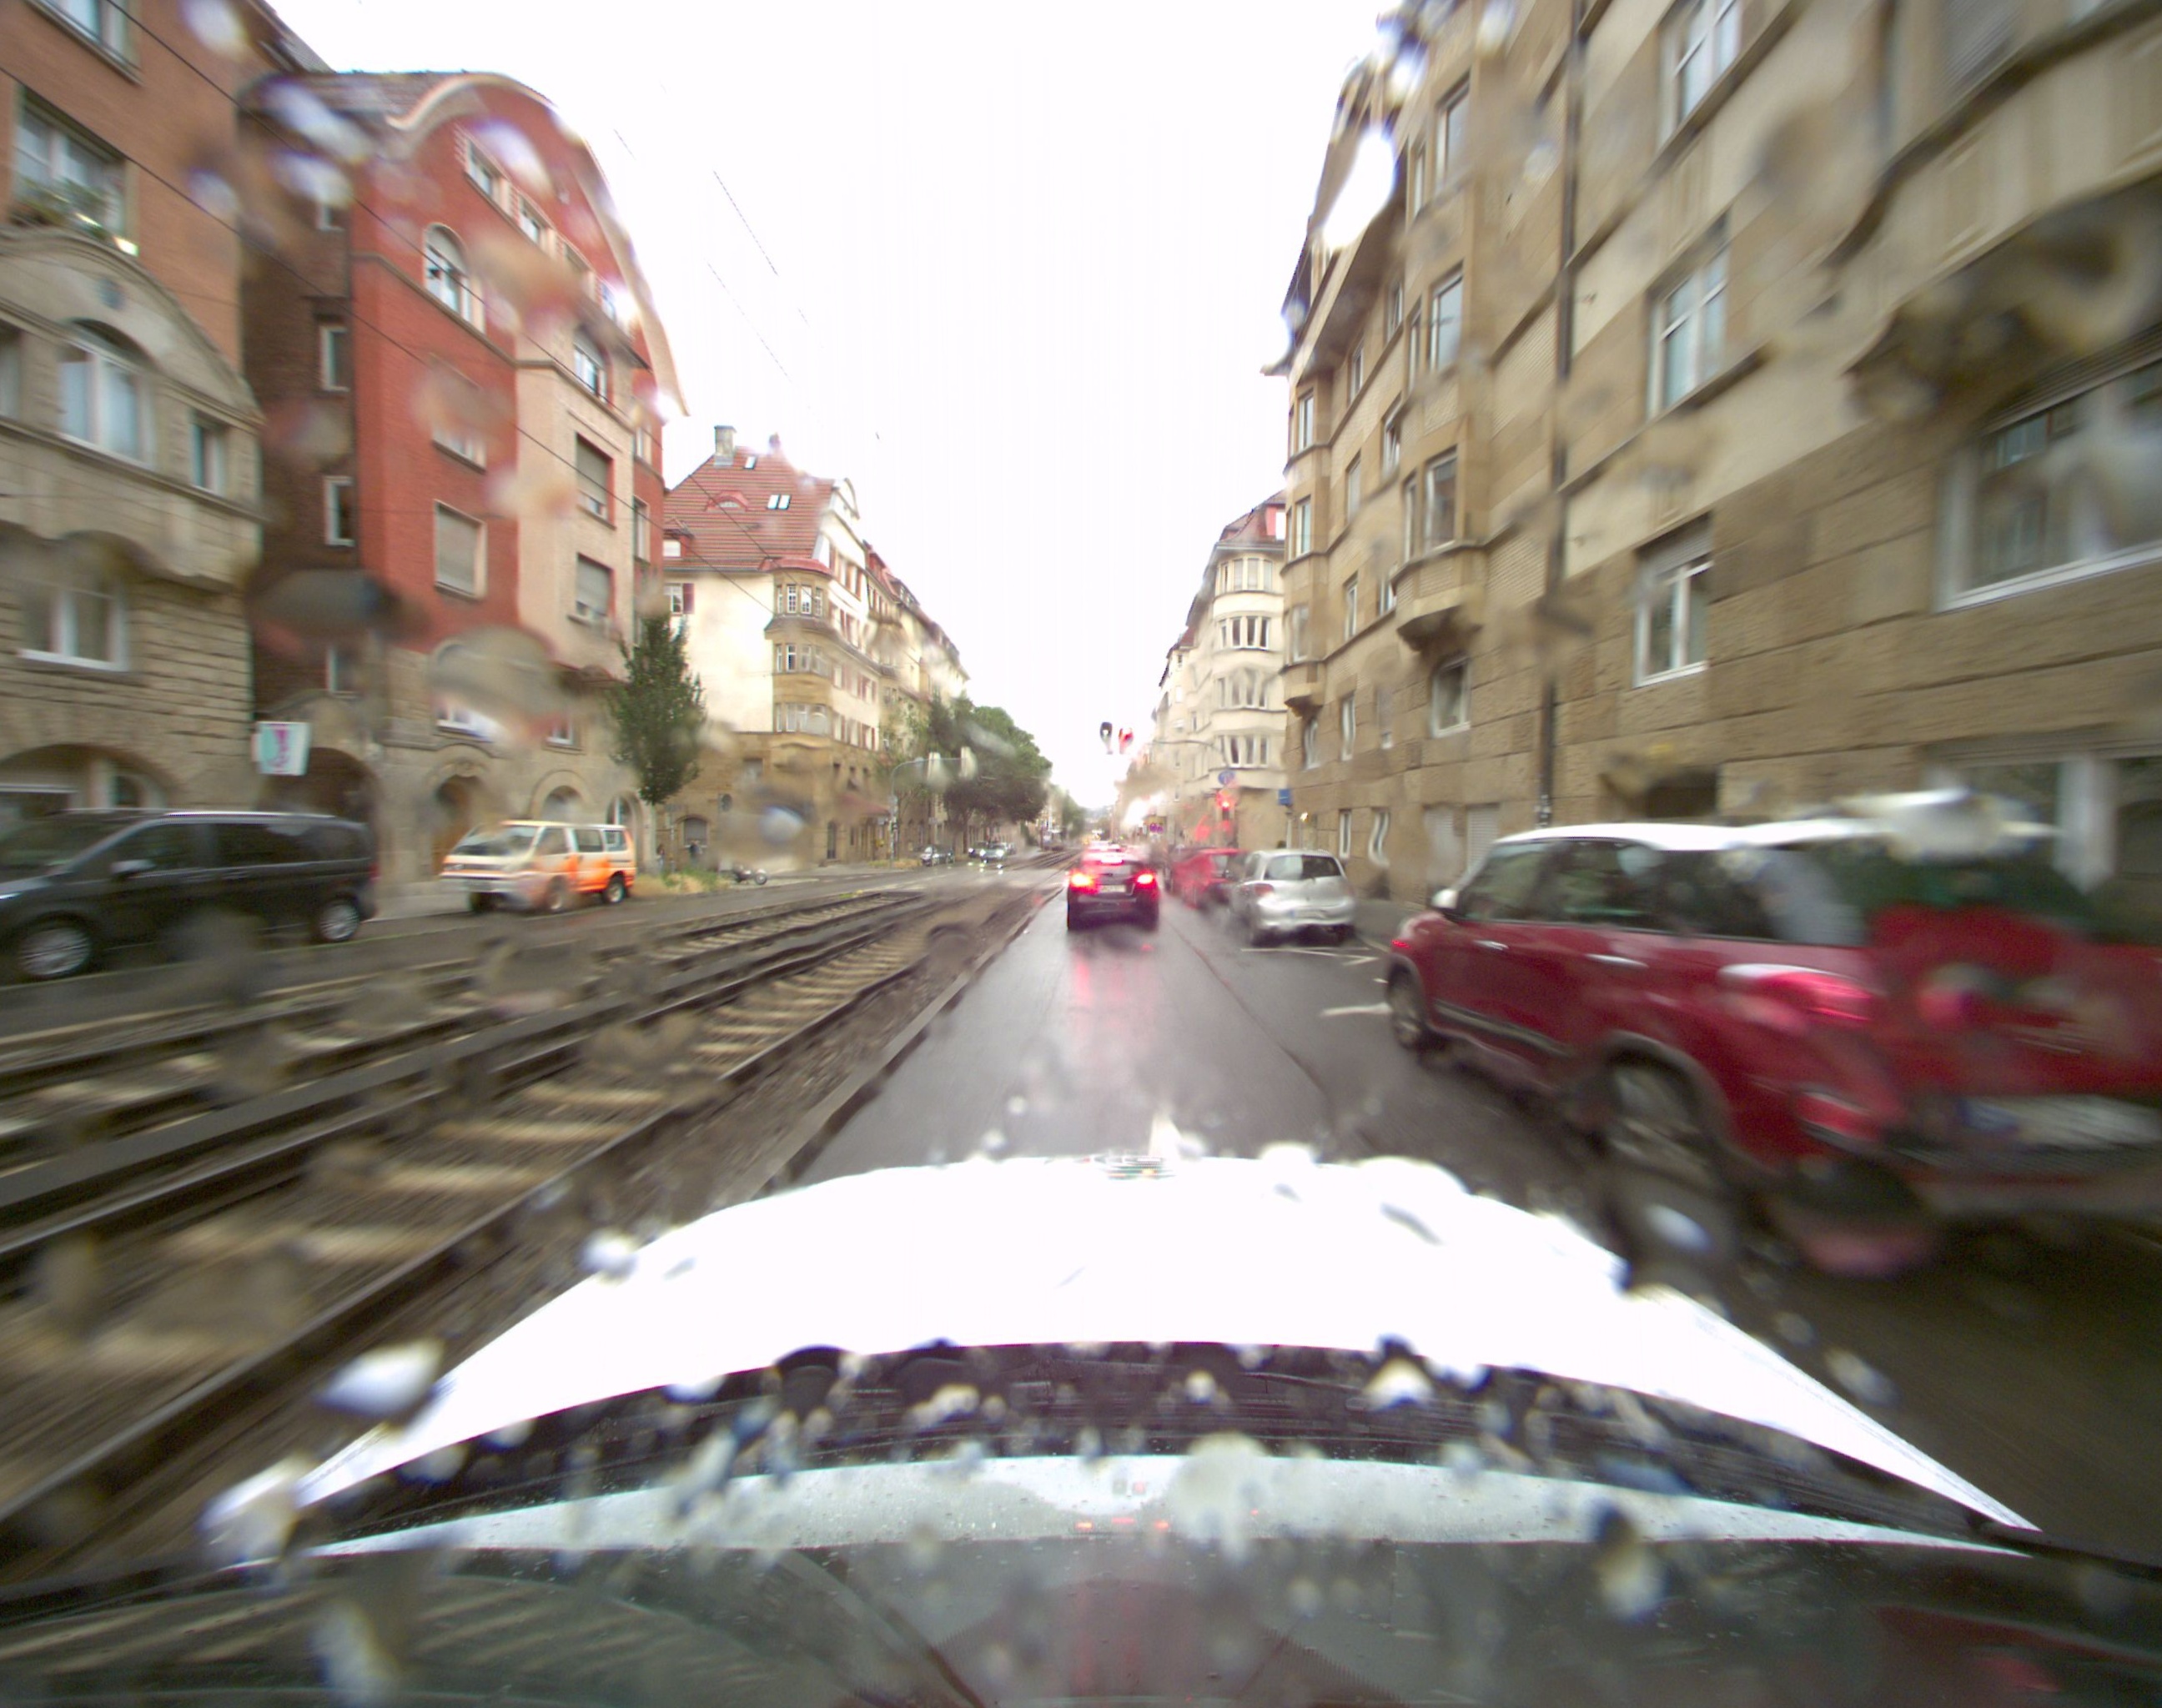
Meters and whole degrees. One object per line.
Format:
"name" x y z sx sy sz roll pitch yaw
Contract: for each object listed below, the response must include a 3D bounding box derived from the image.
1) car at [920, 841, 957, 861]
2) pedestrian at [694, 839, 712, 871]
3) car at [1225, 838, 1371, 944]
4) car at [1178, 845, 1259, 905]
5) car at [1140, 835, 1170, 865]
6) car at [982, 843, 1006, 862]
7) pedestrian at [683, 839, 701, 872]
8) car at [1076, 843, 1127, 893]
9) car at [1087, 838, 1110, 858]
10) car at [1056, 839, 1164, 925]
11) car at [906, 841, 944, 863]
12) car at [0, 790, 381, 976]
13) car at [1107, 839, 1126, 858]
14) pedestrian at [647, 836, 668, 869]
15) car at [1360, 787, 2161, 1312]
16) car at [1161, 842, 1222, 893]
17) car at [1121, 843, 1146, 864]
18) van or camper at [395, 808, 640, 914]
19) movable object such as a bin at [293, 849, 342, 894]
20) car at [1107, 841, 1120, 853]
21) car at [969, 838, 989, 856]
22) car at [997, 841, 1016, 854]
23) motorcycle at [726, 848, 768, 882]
"car" -10.827 -0.242 62.146 1.986 1.517 4.002 1 1 2
"pedestrian" -20.756 0.079 44.718 0.605 1.733 0.643 1 0 2
"car" 3.544 0.537 13.885 1.632 1.542 3.467 1 0 2
"car" 3.520 0.491 21.286 1.597 1.419 3.148 1 1 0
"car" 5.194 -0.248 57.956 1.891 2.028 4.177 0 -1 2
"car" -7.500 -0.123 70.223 1.791 1.548 3.997 0 0 -2
"pedestrian" -21.065 0.072 44.070 0.605 1.733 0.643 1 0 2
"car" 0.696 0.408 26.966 1.530 1.510 4.002 1 1 2
"car" 1.576 -0.560 73.506 1.913 1.655 4.003 1 1 3
"car" 0.536 0.508 16.527 1.939 1.564 3.642 0 0 0
"car" -10.816 -0.148 56.821 1.765 1.464 4.002 0 0 2
"car" -11.981 0.285 10.353 1.986 1.901 4.701 -1 0 2
"car" 3.515 -0.539 81.763 1.846 1.797 3.813 0 -1 2
"pedestrian" -22.465 -0.073 43.177 0.605 1.733 0.865 1 0 2
"car" 3.127 0.602 4.550 1.705 1.628 3.999 1 1 -1
"car" 3.545 0.391 26.637 1.543 1.508 4.002 1 1 2
"car" 4.542 -0.046 70.651 1.764 1.776 3.996 0 -1 -2
"van or camper" -11.956 0.121 17.790 1.987 1.901 4.698 3 0 0
"movable object such as a bin" -16.831 0.384 17.964 0.572 0.955 0.520 1 0 1
"car" 4.855 -0.992 121.080 1.902 1.706 4.002 1 1 2
"car" -10.370 -0.700 82.982 1.786 1.691 3.994 1 0 -4
"car" -9.907 -0.865 108.415 1.925 1.728 4.188 1 1 2
"motorcycle" -11.718 0.369 28.563 1.423 1.134 0.624 1 0 31
